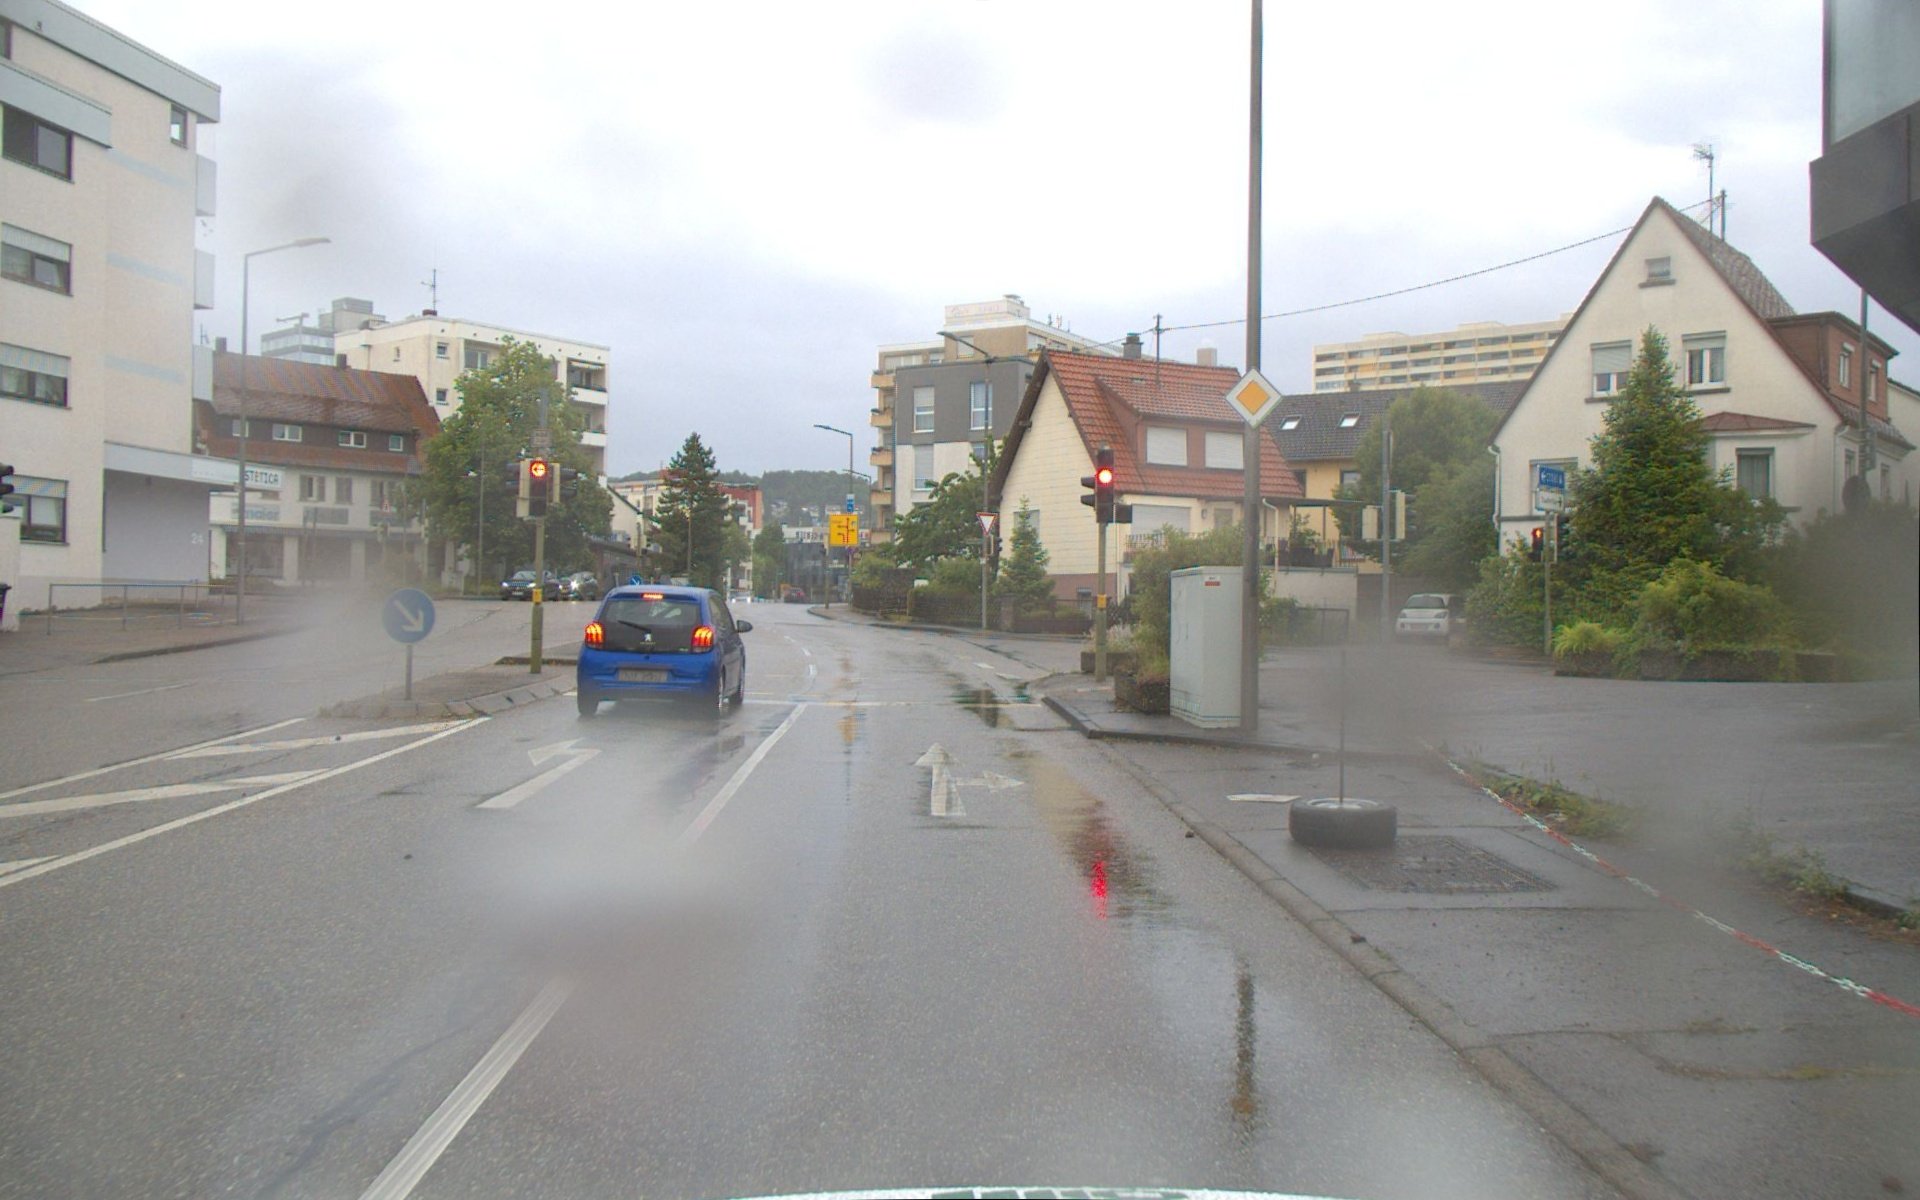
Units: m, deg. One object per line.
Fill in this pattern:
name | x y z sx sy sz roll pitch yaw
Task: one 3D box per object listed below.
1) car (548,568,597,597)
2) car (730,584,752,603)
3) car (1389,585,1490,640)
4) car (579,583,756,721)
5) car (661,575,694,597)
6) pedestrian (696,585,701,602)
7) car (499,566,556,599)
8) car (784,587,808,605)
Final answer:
car | -19.625 -0.914 83.941 1.680 1.411 4.019 1 1 -2
car | -21.816 -0.662 164.599 1.720 1.847 3.860 1 1 -1
car | 14.367 0.358 49.451 1.710 1.541 3.986 1 1 35
car | -3.350 0.546 19.432 1.547 1.435 3.269 1 1 -2
car | -19.393 -0.978 113.740 1.743 1.445 3.829 1 1 -2
pedestrian | -25.404 -0.643 160.701 0.425 1.687 0.497 1 1 -12
car | -20.019 -0.828 76.695 1.743 1.445 3.829 1 1 -2
car | -14.724 -0.388 148.646 1.776 1.512 4.188 0 1 -1
